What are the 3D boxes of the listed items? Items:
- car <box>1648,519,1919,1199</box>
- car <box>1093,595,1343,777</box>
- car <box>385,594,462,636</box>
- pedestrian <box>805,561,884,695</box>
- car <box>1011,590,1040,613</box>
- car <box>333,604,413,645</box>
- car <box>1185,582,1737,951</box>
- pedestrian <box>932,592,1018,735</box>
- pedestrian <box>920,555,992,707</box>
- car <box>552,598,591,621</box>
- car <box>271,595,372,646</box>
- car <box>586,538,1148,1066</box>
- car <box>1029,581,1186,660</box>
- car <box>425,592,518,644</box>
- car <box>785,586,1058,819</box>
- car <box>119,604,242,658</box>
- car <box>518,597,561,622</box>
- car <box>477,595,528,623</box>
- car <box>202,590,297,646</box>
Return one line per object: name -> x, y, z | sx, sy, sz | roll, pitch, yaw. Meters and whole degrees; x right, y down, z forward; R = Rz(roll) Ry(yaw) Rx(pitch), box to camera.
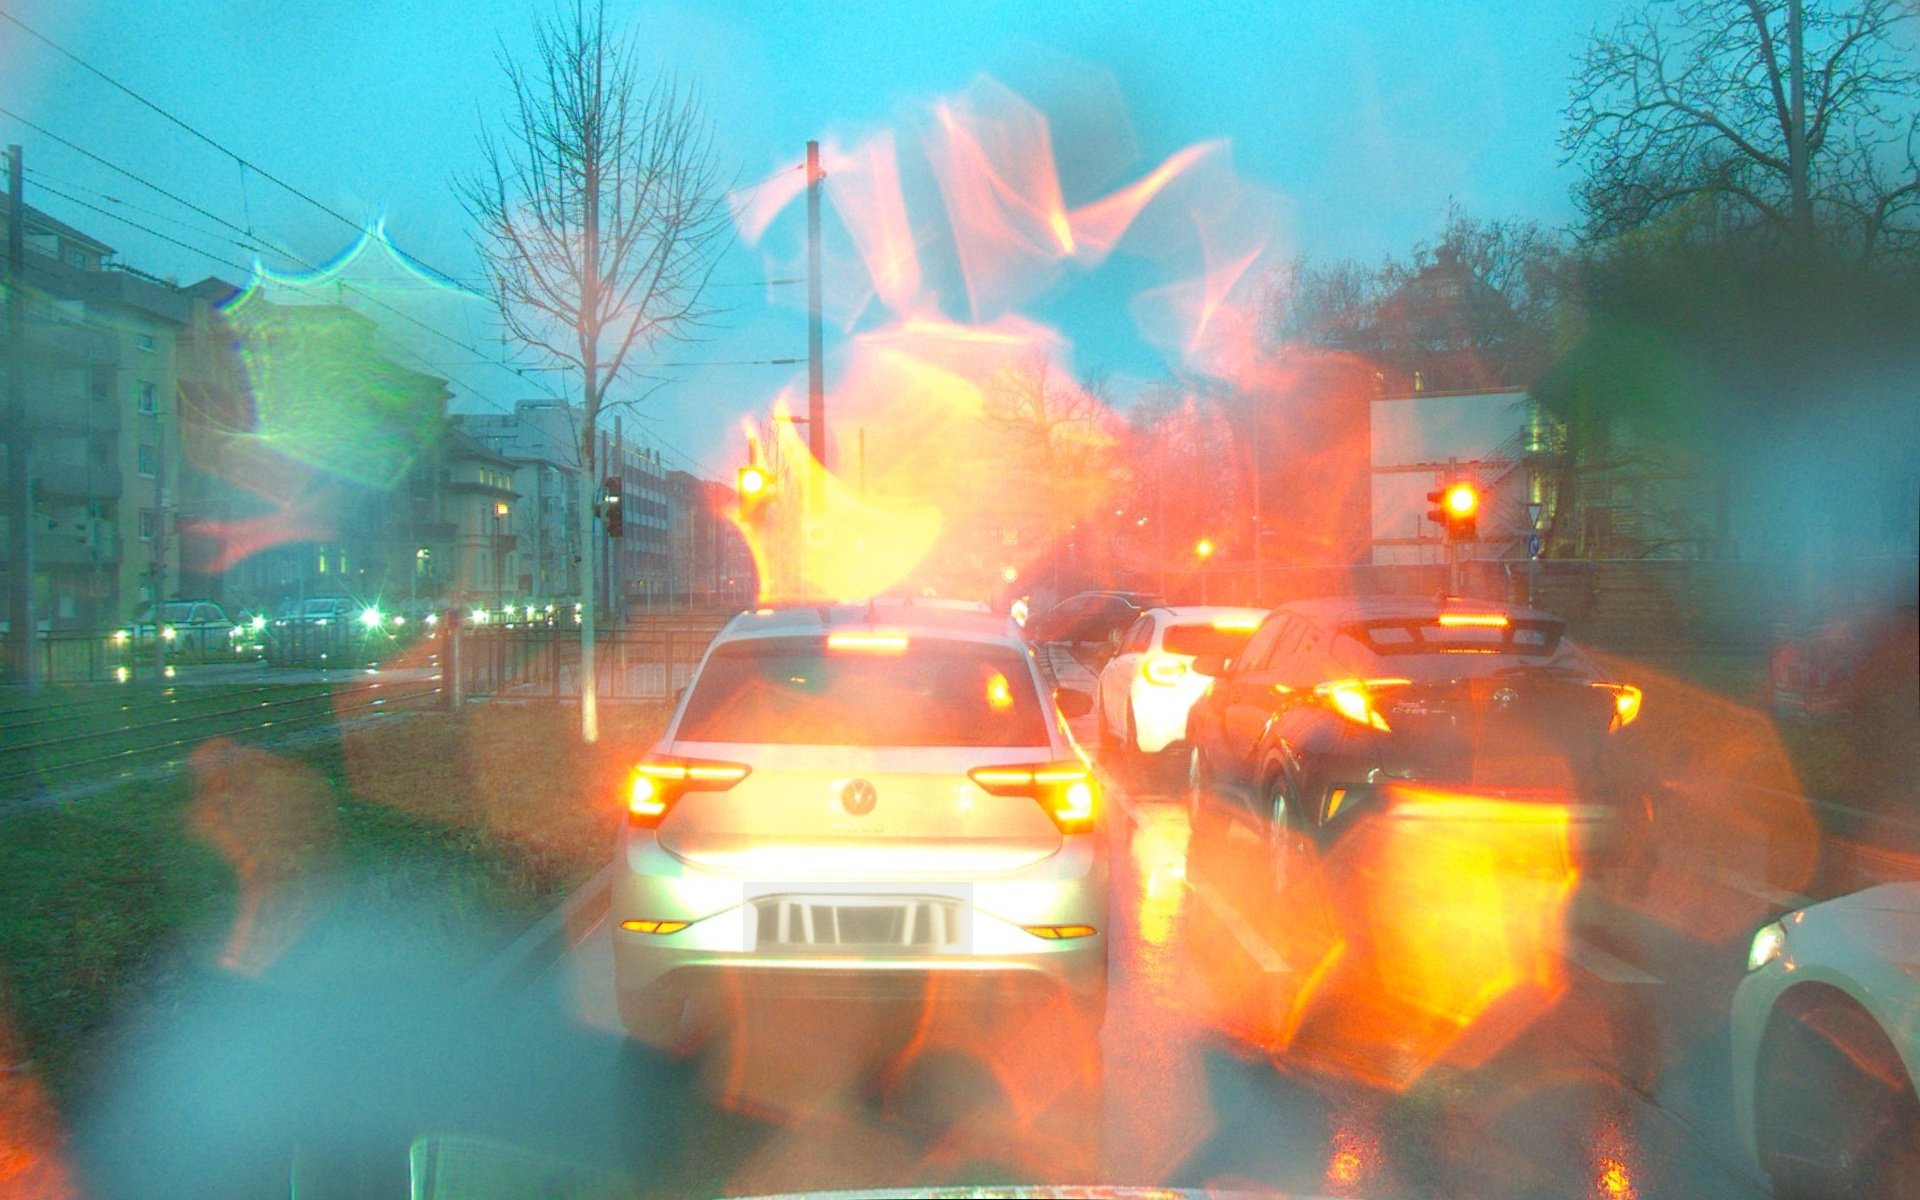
car -> 2.886, 0.628, 1.972 | 1.825, 1.583, 4.935 | -1, 1, -3
car -> 2.268, 0.706, 15.426 | 1.710, 1.458, 3.731 | 1, 0, 0
car -> -22.264, 0.611, 68.784 | 1.910, 1.630, 4.000 | 1, 0, 0
pedestrian -> -1.827, 0.426, 26.030 | 0.946, 2.049, 1.000 | -1, 0, -23
car -> 4.265, 0.084, 107.792 | 1.702, 1.444, 3.703 | -1, 0, -1
car -> -24.446, 1.000, 69.016 | 1.910, 1.630, 4.000 | 1, 0, 0
car -> 2.380, 0.692, 8.924 | 1.763, 1.537, 3.895 | -1, 0, -1
pedestrian -> 0.235, 0.922, 24.524 | 0.939, 2.049, 1.007 | -1, 0, 23
pedestrian -> -0.044, 0.416, 23.023 | 0.939, 2.049, 1.008 | -1, 0, 2
car -> -28.515, 0.697, 121.634 | 1.910, 1.630, 4.000 | 1, 0, 0
car -> -20.974, 0.634, 54.492 | 1.829, 1.604, 3.999 | -1, 0, -1
car -> -0.308, 0.587, 6.922 | 1.658, 1.560, 3.999 | 1, 0, -1
car -> 3.866, 0.523, 43.984 | 1.975, 1.977, 4.237 | 1, 0, -33
car -> -16.167, 0.570, 54.937 | 1.953, 1.630, 3.999 | 1, 0, -2
car -> -0.271, 0.649, 13.118 | 1.762, 1.492, 4.585 | -1, 1, -1
car -> -20.348, 0.782, 43.349 | 1.658, 1.300, 4.142 | -1, 0, -7
car -> -28.613, 0.658, 112.692 | 1.910, 1.630, 4.000 | 1, 0, 0
car -> -27.217, 0.516, 98.576 | 1.910, 1.630, 4.000 | 1, 0, 0
car -> -27.376, 0.660, 63.896 | 1.953, 2.049, 3.999 | 1, 0, -1
